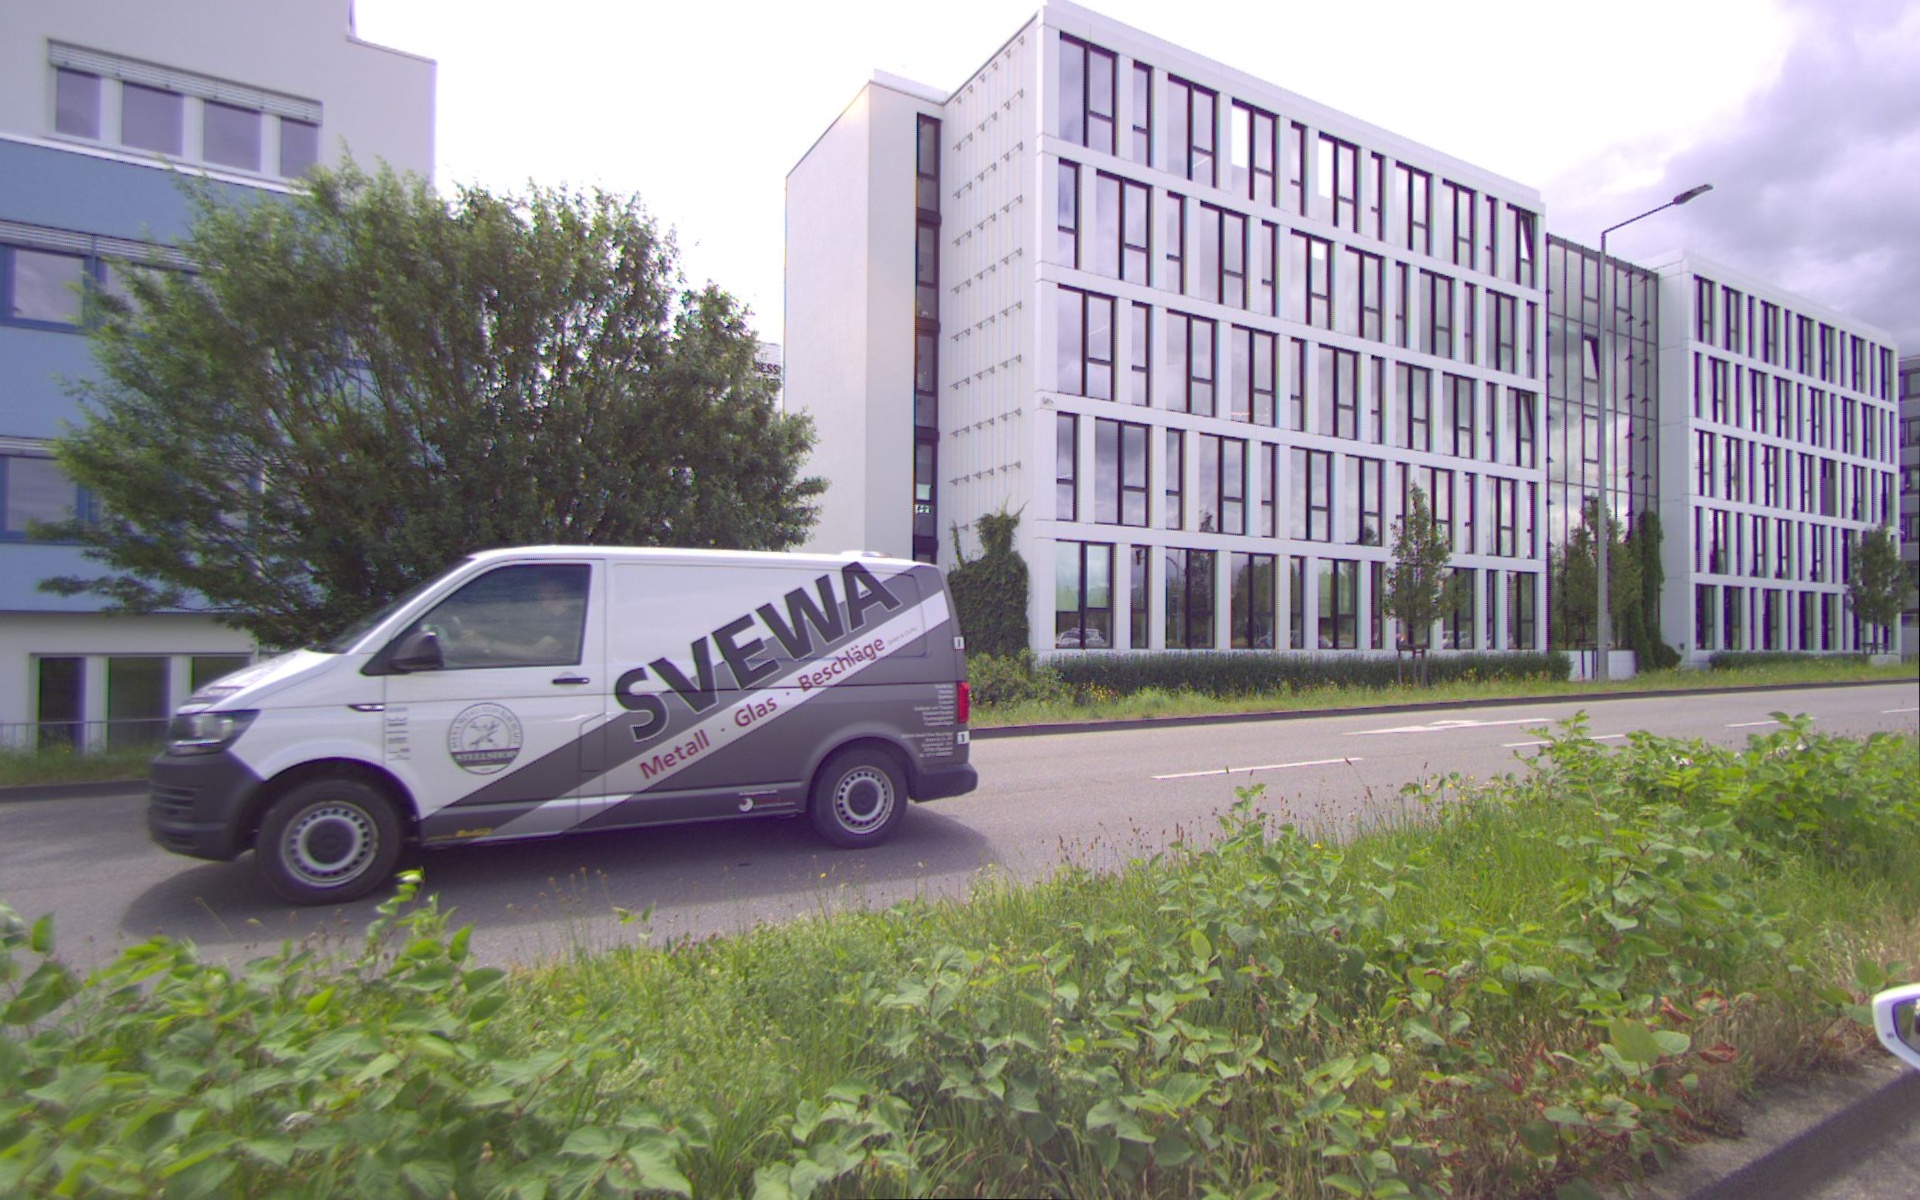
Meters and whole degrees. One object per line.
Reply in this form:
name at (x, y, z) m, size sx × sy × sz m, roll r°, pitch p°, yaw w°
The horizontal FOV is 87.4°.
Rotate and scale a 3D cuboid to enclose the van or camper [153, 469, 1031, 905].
van or camper at (-2.073, 0.475, 6.684) m, size 4.753 × 2.040 × 1.987 m, roll 1°, pitch -1°, yaw -27°
